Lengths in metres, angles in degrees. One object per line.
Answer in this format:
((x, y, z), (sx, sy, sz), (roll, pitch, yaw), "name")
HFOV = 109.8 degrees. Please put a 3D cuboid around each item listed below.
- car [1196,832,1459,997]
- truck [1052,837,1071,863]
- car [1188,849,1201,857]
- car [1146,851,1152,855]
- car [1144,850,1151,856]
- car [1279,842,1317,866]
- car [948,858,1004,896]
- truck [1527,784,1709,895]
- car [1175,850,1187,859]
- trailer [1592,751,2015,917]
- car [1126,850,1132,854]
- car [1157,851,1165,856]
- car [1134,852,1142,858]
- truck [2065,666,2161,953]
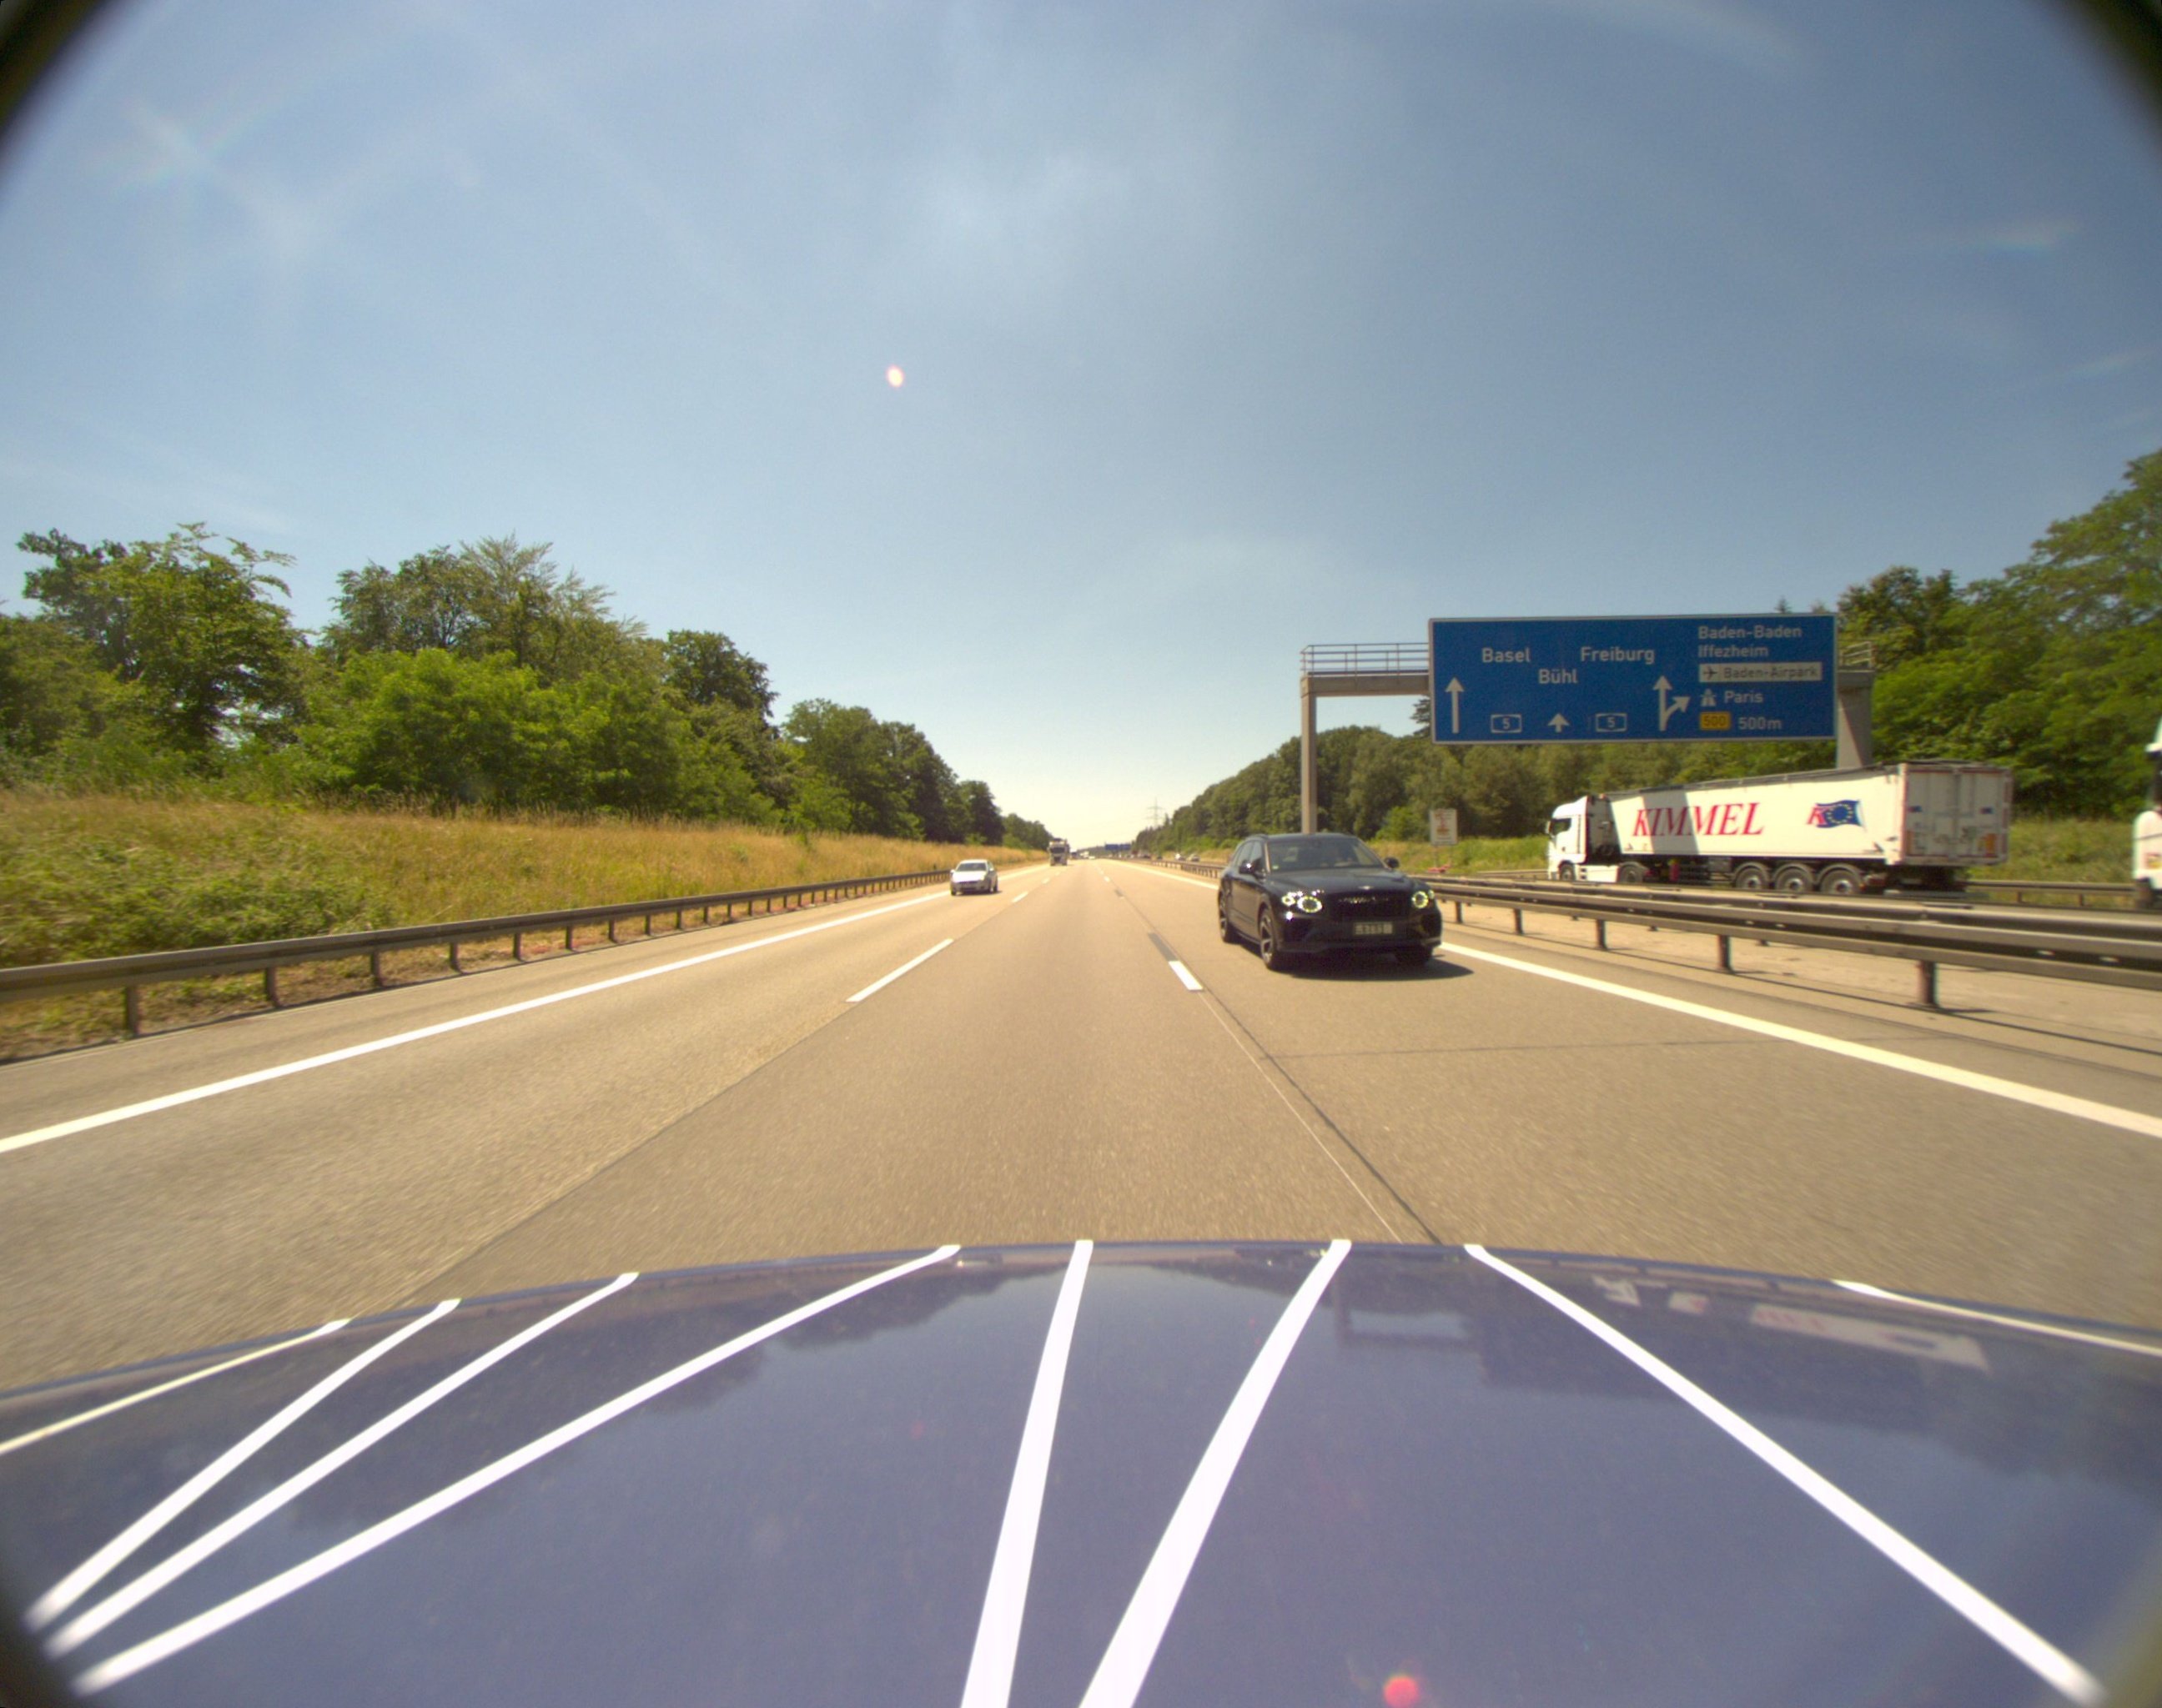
((3.158, 0.673, 11.262), (1.945, 1.742, 5.813), (-2, 0, 0), "car")
((-3.138, -0.626, 121.313), (2.605, 3.811, 5.969), (-3, 0, 1), "truck")
((22.039, -0.155, 147.981), (1.799, 1.508, 4.903), (1, 0, 0), "car")
((23.922, -0.437, 266.504), (1.658, 1.403, 5.176), (1, 0, 0), "car")
((19.964, -0.249, 228.429), (1.799, 1.609, 4.985), (1, 0, 0), "car")
((21.631, -0.014, 75.929), (1.992, 2.327, 5.809), (1, 0, 0), "car")
((-4.554, 0.955, 33.482), (1.749, 1.457, 3.980), (-2, 0, 1), "car")
((21.214, -0.545, 30.558), (2.632, 3.925, 6.482), (1, 0, 0), "truck")
((18.190, 0.046, 138.262), (1.651, 1.490, 4.560), (1, 0, 0), "car")
((21.147, -0.497, 23.874), (2.632, 3.925, 11.157), (1, 0, 0), "trailer")
((15.428, -0.619, 245.785), (1.703, 1.421, 4.573), (1, 0, 0), "car")
((23.365, -0.040, 222.655), (1.675, 1.401, 4.597), (1, 0, 0), "car")
((15.659, 0.240, 209.239), (1.799, 1.466, 4.986), (1, 0, 0), "car")
((16.458, -0.595, 8.564), (2.470, 4.049, 6.286), (1, 0, 0), "truck")
